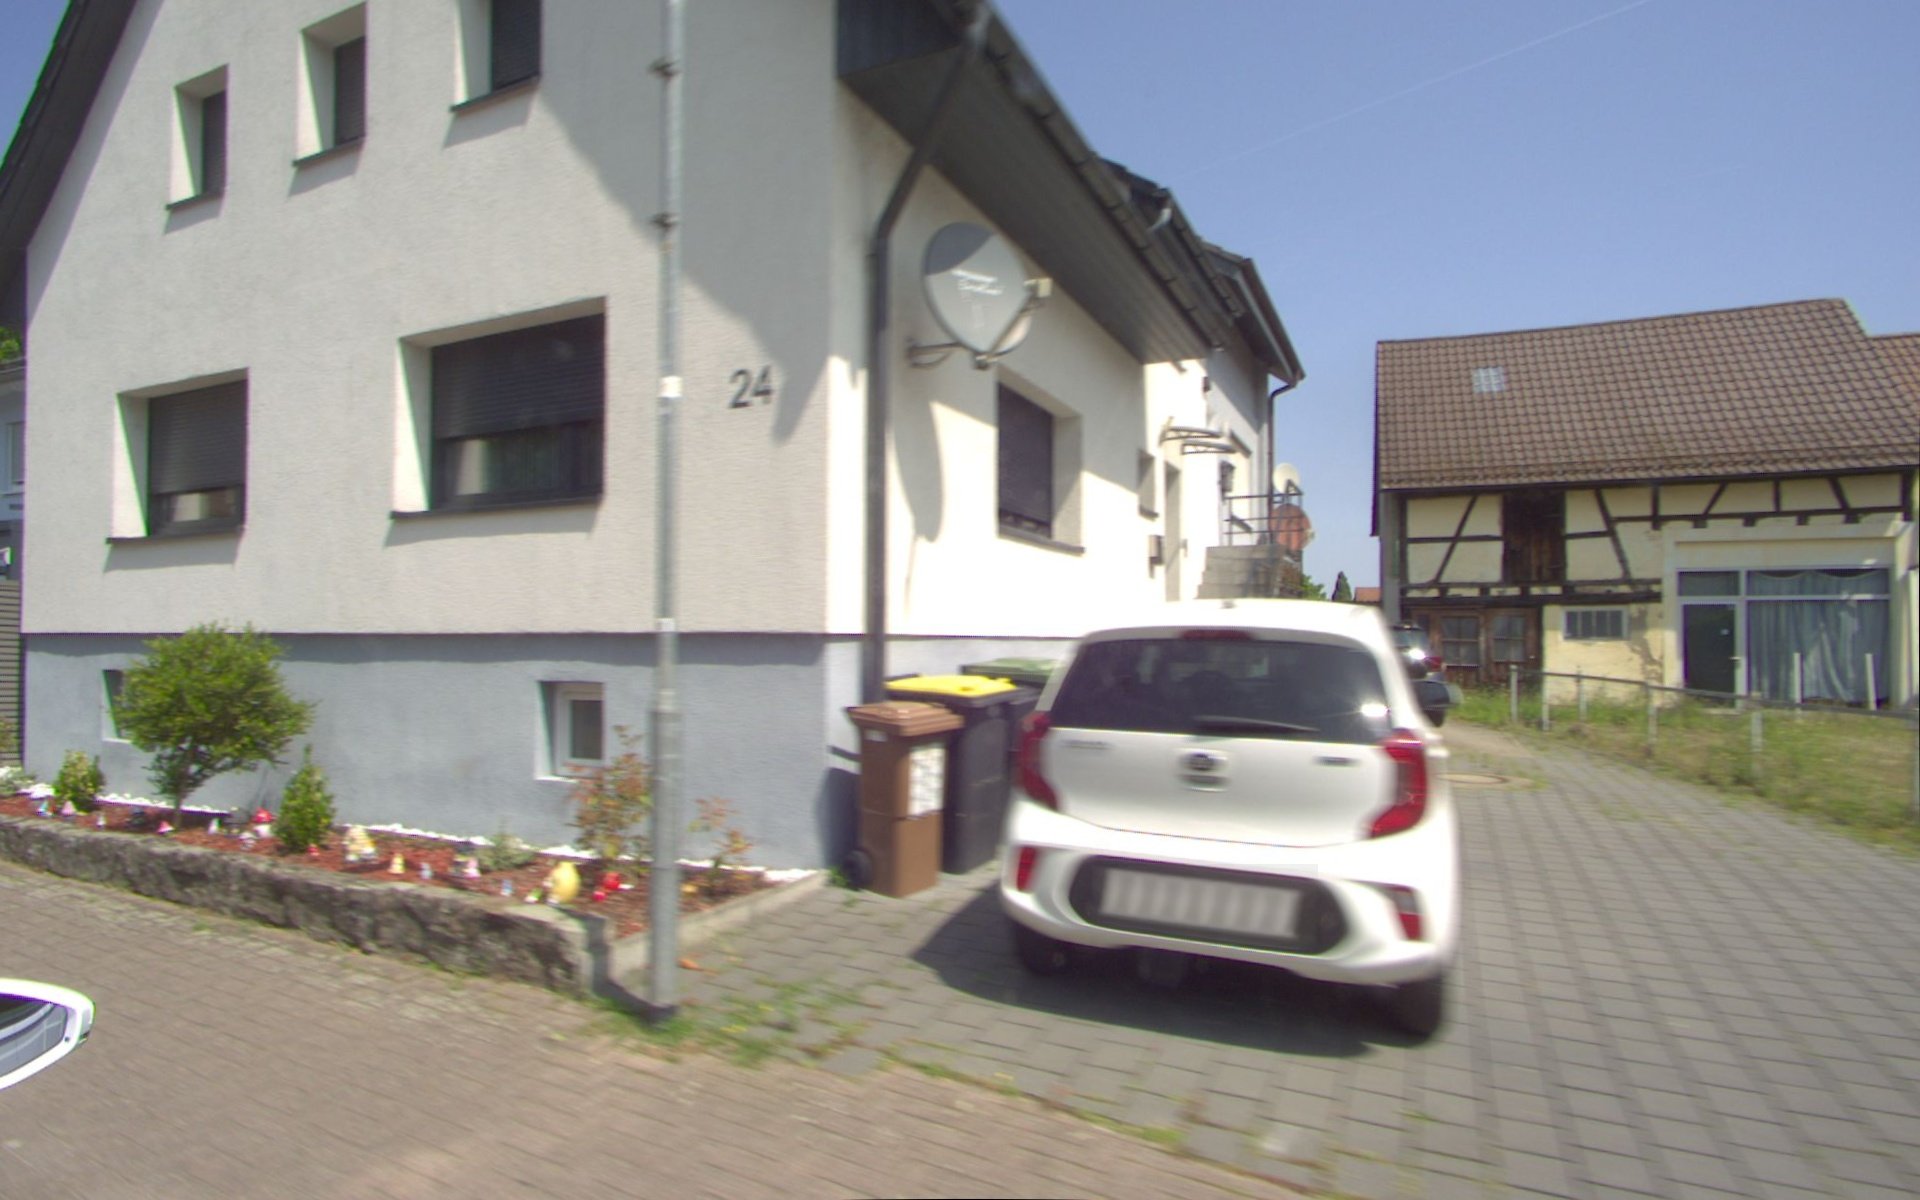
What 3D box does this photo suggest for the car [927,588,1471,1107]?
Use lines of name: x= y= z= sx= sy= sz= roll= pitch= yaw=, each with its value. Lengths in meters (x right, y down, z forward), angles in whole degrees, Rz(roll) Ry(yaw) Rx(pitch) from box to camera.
car: x=1.406 y=0.728 z=4.911 sx=1.736 sy=1.494 sz=3.658 roll=0 pitch=0 yaw=24

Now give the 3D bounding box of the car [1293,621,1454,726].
car: x=6.562 y=1.156 z=16.264 sx=1.685 sy=1.510 sz=3.577 roll=0 pitch=-3 yaw=10
